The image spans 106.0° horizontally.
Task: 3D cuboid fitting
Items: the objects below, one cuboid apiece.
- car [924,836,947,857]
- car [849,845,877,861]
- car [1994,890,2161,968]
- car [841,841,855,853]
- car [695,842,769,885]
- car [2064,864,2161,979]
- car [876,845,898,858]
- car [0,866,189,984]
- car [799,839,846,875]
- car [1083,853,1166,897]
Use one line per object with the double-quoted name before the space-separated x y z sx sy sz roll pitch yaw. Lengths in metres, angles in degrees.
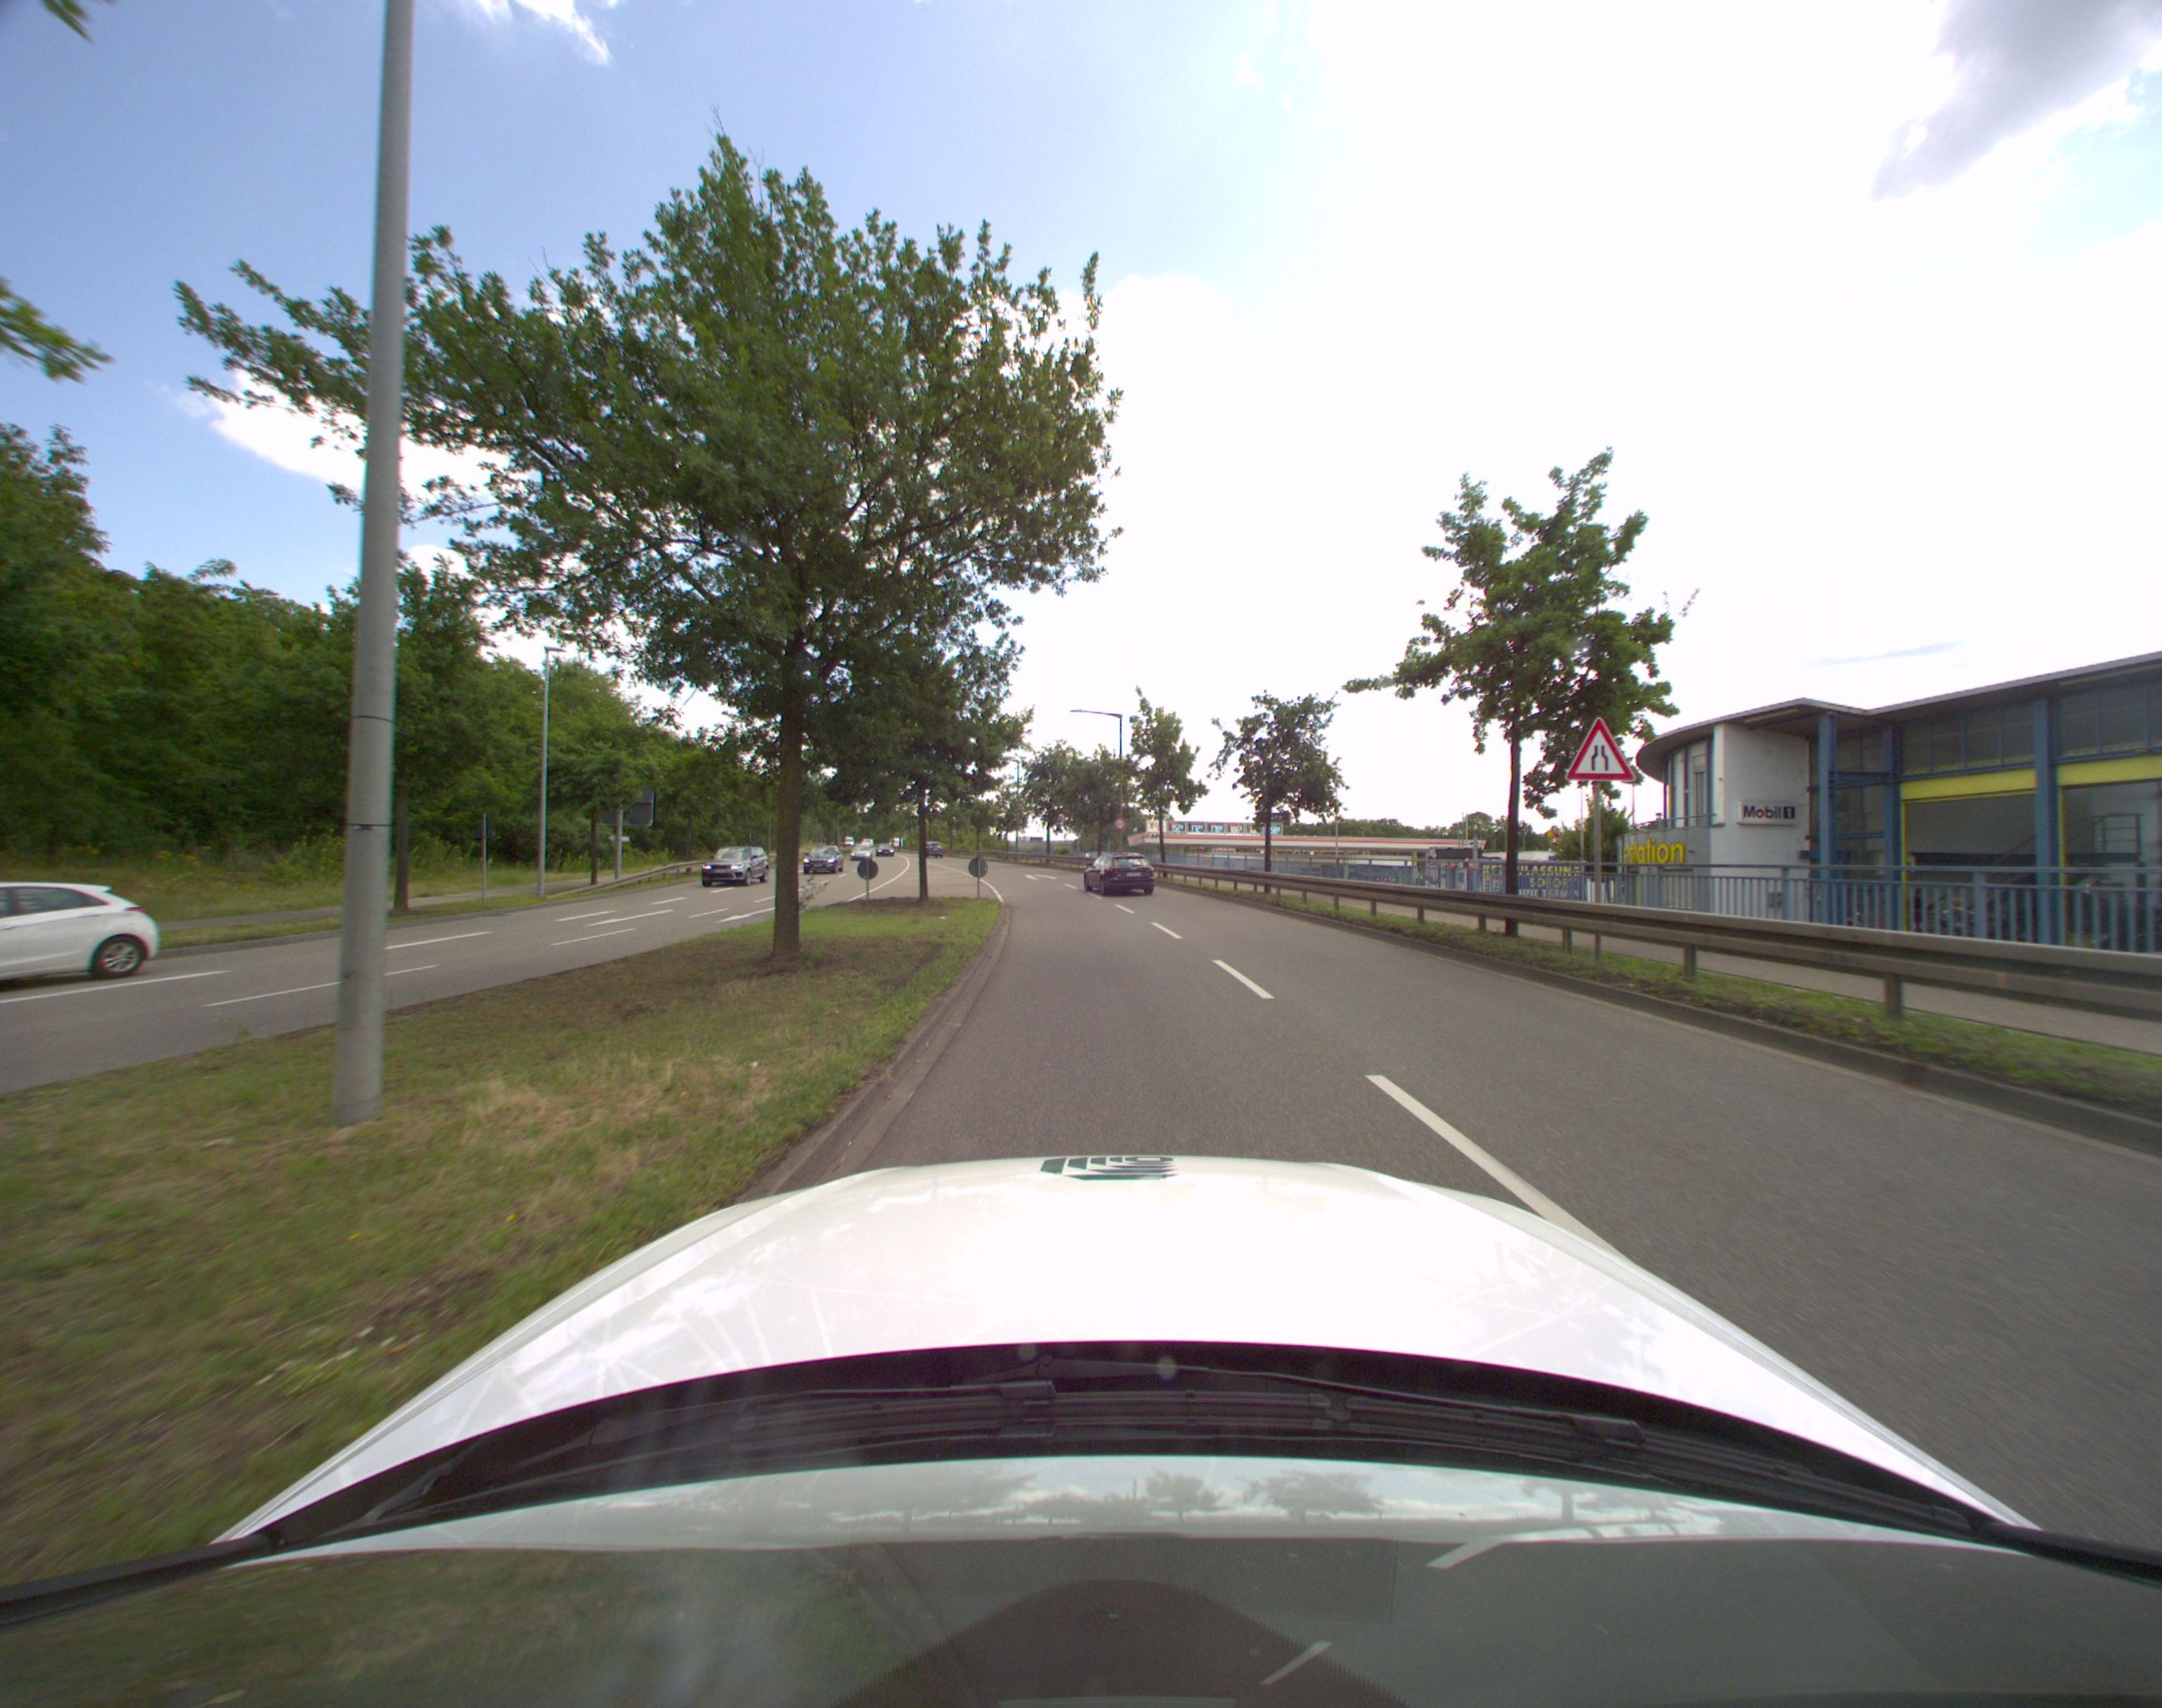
"car" -15.587 -0.807 87.005 1.997 2.037 4.688 1 -2 -15
"car" -19.960 -0.141 74.755 1.992 1.396 4.686 0 1 -8
"car" 24.832 1.709 18.992 4.757 1.629 2.162 1 0 -1
"car" -39.571 -1.178 138.363 1.995 2.013 4.539 2 1 -13
"car" -16.196 0.422 38.066 1.993 1.861 4.700 1 -1 -9
"car" 13.828 0.804 8.270 1.987 1.359 4.748 0 0 0
"car" -21.307 -0.303 89.511 1.902 1.363 4.564 -1 0 -7
"car" -14.973 0.937 10.623 1.989 1.532 4.327 -1 -1 -2
"car" -15.693 0.115 49.657 1.993 2.013 4.804 1 1 -9
"car" 1.443 0.704 29.147 1.993 1.390 4.561 2 0 -9
